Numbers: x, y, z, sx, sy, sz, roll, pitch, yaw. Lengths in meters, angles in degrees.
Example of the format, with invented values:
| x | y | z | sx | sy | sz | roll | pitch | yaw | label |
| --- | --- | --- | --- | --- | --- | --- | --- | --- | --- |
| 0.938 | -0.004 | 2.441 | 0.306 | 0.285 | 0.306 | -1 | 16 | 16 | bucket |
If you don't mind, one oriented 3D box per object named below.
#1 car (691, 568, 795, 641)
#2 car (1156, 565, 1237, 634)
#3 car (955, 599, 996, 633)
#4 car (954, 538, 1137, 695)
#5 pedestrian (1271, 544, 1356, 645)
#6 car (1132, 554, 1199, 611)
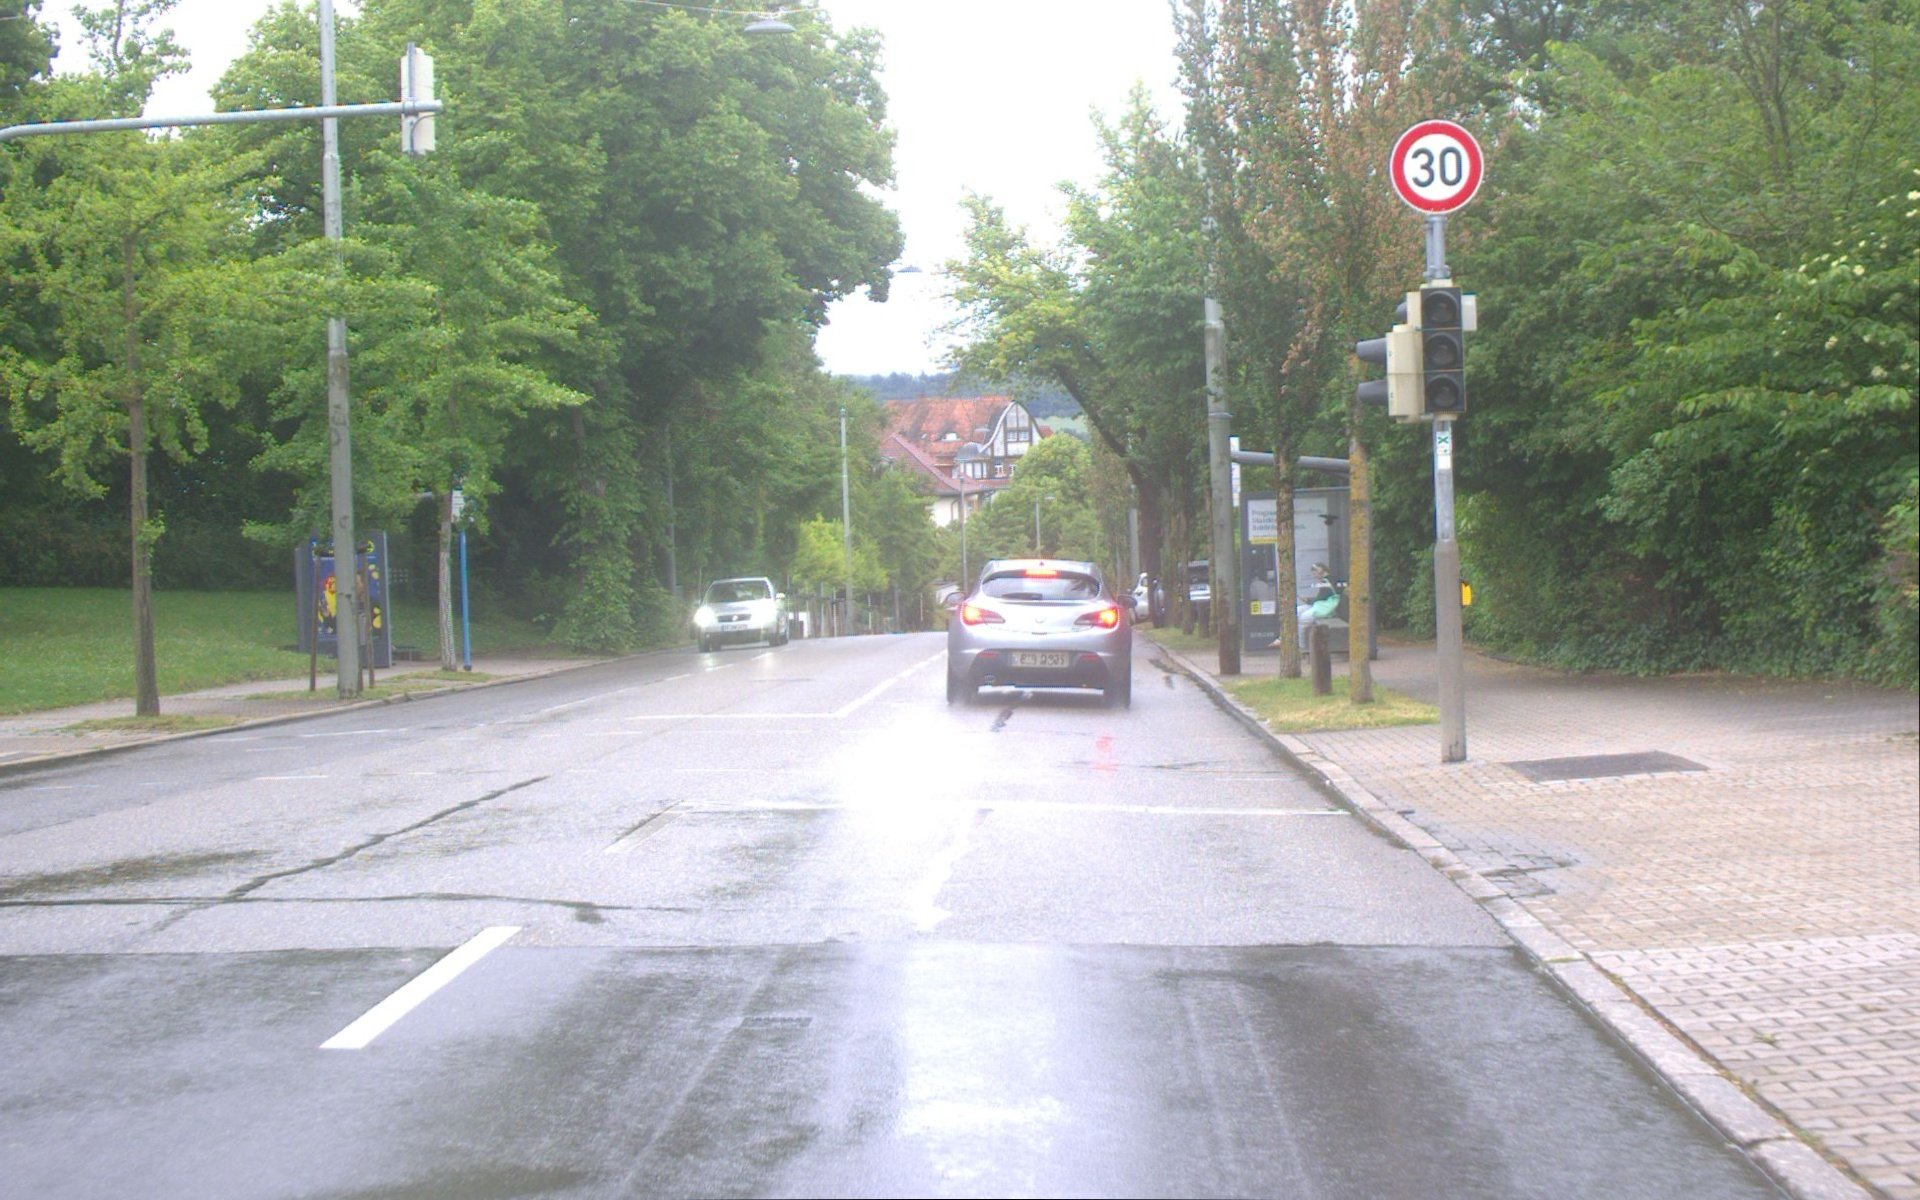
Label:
| x | y | z | sx | sy | sz | roll | pitch | yaw | label |
| --- | --- | --- | --- | --- | --- | --- | --- | --- | --- |
| -4.398 | 0.064 | 70.194 | 1.721 | 1.394 | 4.000 | 1 | 1 | 2 | car |
| 5.549 | -0.031 | 80.979 | 1.721 | 1.459 | 4.000 | -3 | 1 | 2 | car |
| 0.741 | 0.752 | 161.149 | 1.721 | 1.459 | 4.000 | 2 | 1 | 2 | car |
| 0.841 | 0.127 | 35.343 | 1.754 | 1.459 | 4.000 | 1 | 2 | 0 | car |
| 4.953 | -0.082 | 48.145 | 1.074 | 1.351 | 0.918 | -2 | 1 | 9 | pedestrian |
| 5.727 | -0.512 | 96.138 | 1.721 | 1.459 | 4.000 | -3 | 1 | 2 | car |
